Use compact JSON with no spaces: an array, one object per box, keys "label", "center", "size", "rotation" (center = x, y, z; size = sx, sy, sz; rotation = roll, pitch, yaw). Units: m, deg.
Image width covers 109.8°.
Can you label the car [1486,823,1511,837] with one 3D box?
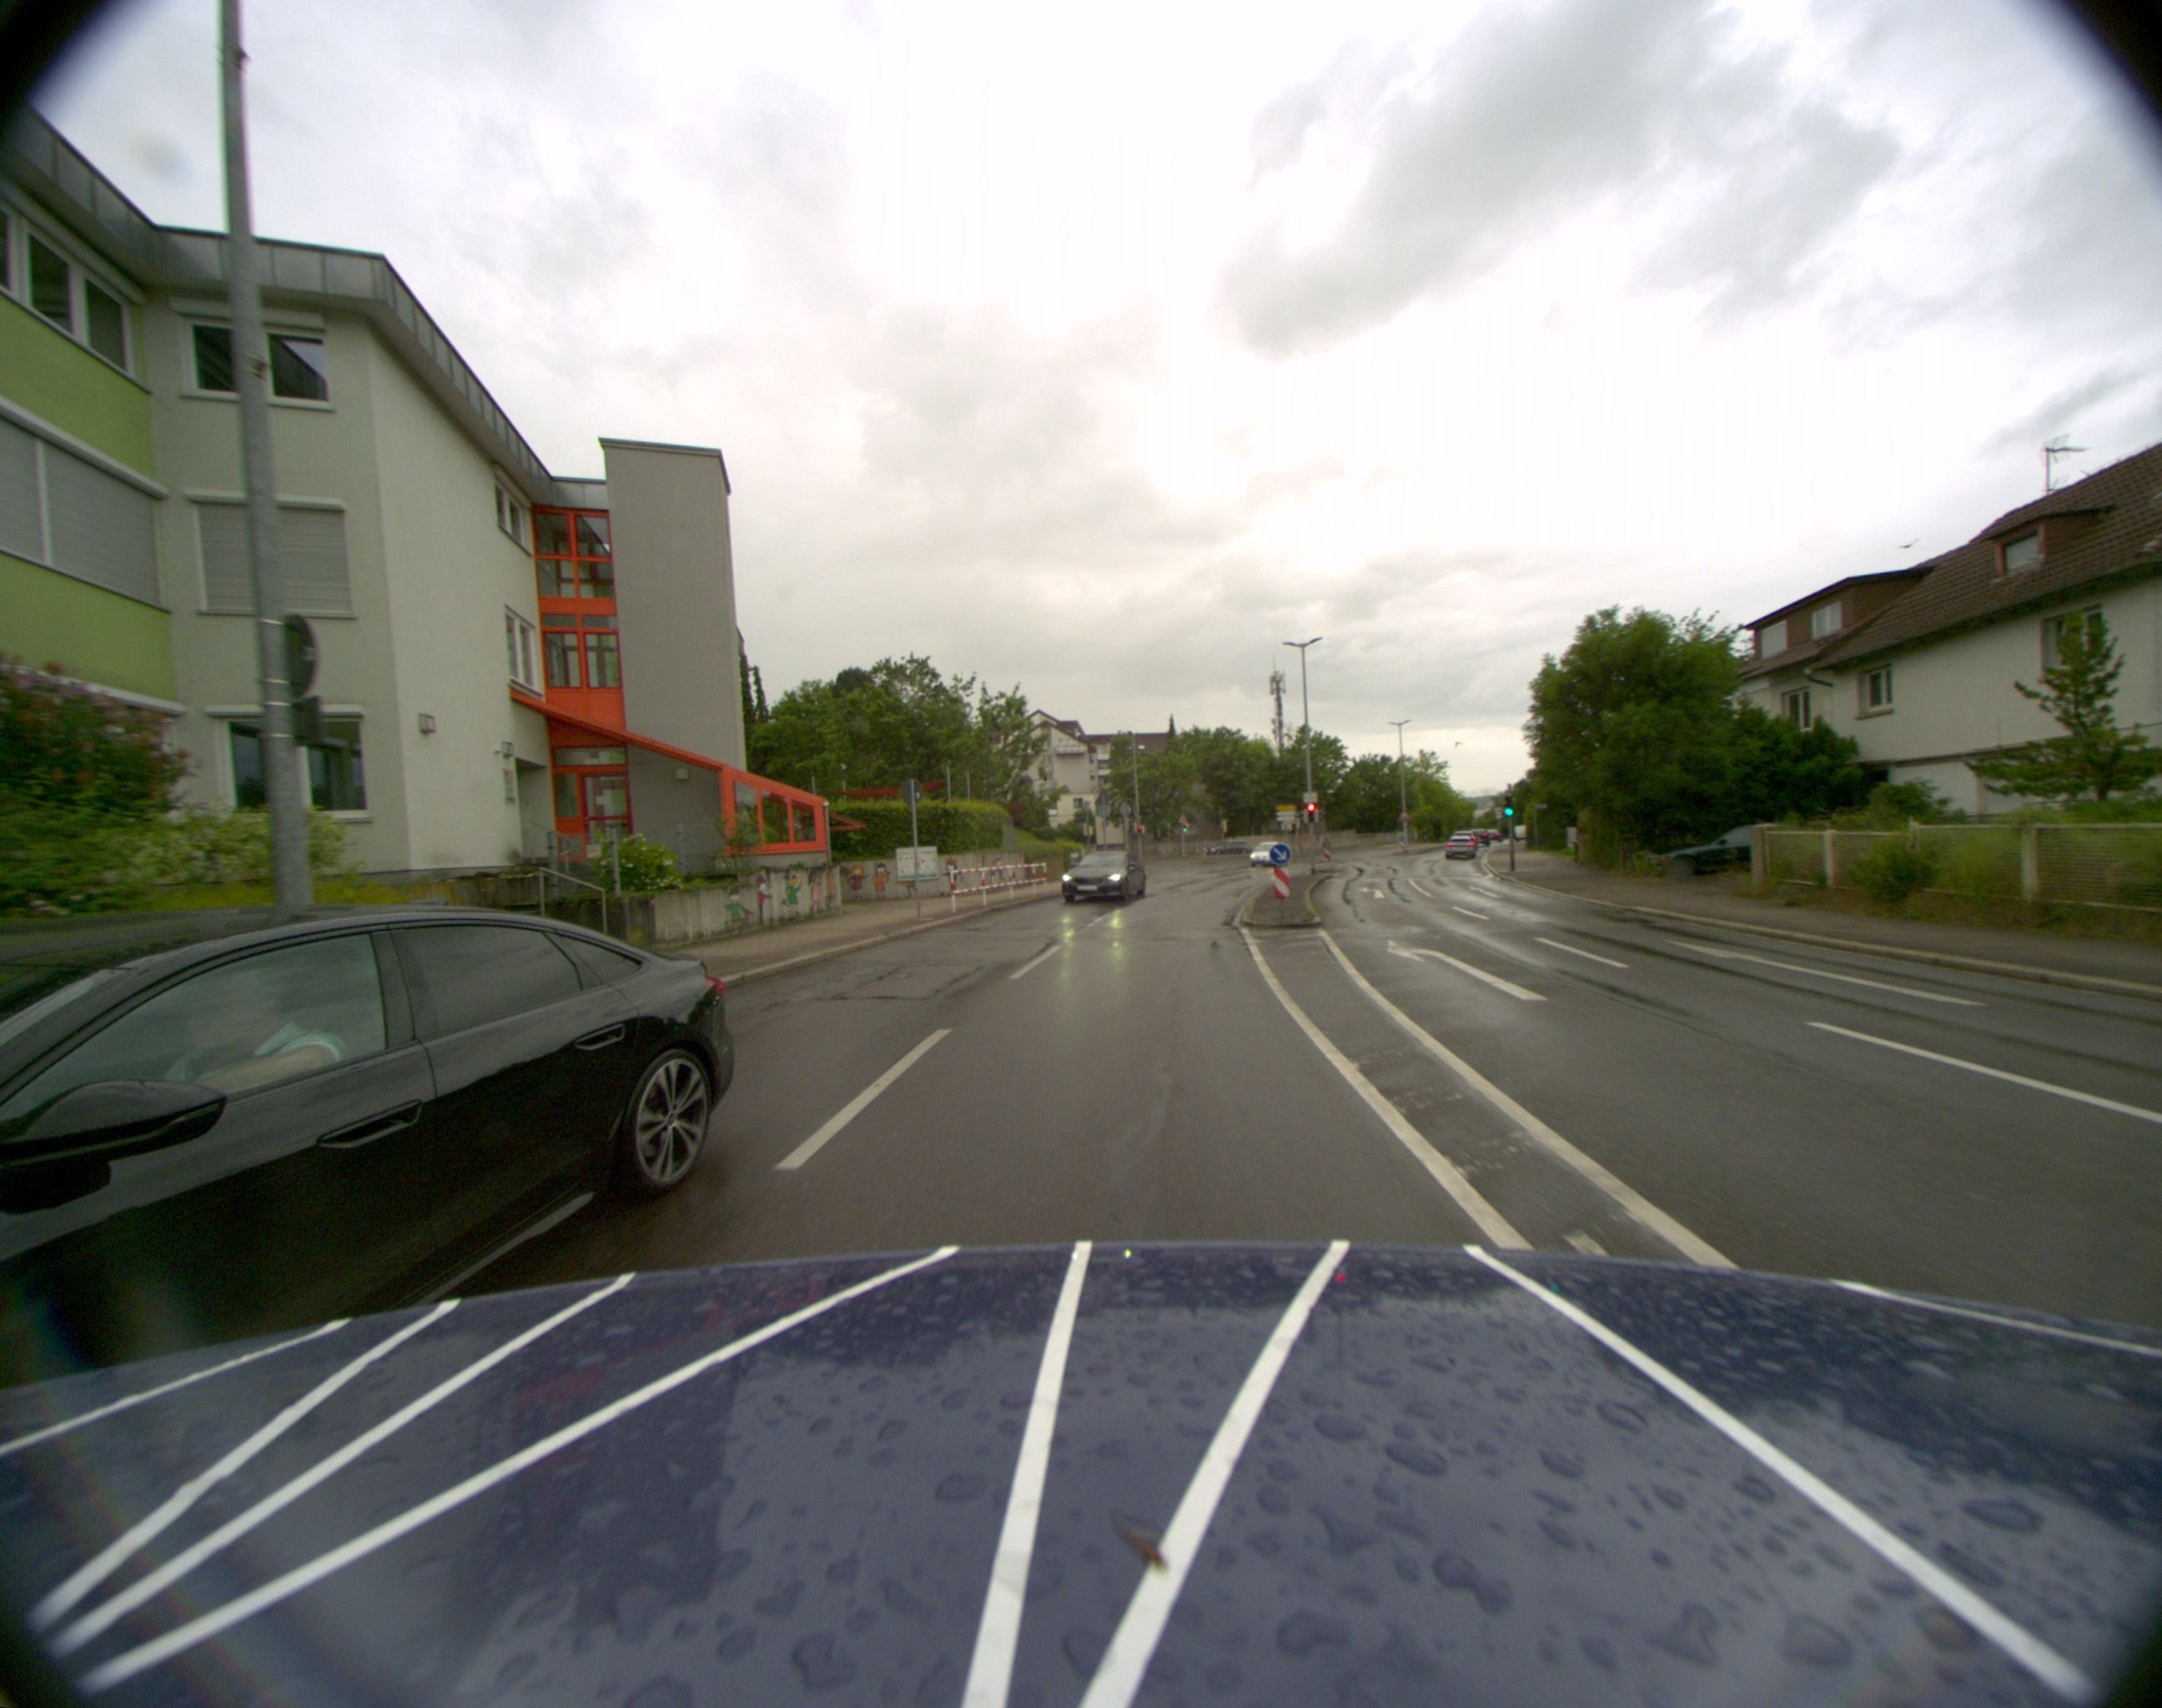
[{"label":"car","center":[47.593,-2.720,86.492],"size":[1.865,1.468,4.454],"rotation":[1,3,37]}]

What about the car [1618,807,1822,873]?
[{"label":"car","center":[18.367,-0.385,22.079],"size":[3.993,1.386,1.934],"rotation":[-7,0,16]}]

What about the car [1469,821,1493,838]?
[{"label":"car","center":[38.396,-2.382,72.887],"size":[1.865,1.545,4.453],"rotation":[0,3,31]}]

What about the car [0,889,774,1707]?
[{"label":"car","center":[-2.896,1.052,2.037],"size":[1.870,1.416,4.738],"rotation":[-3,2,4]}]

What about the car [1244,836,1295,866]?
[{"label":"car","center":[12.389,-0.204,49.713],"size":[1.995,1.647,4.006],"rotation":[-2,3,33]}]

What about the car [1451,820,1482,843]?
[{"label":"car","center":[31.631,-1.852,62.285],"size":[1.884,1.668,4.238],"rotation":[-2,3,31]}]

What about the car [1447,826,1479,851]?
[{"label":"car","center":[25.988,-1.074,51.598],"size":[1.677,1.442,4.695],"rotation":[-2,3,29]}]

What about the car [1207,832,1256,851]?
[{"label":"car","center":[14.814,-1.271,74.737],"size":[4.226,1.647,1.998],"rotation":[-4,2,-9]}]

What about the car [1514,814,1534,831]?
[{"label":"car","center":[50.069,-3.616,85.857],"size":[1.817,1.708,4.006],"rotation":[-2,3,33]}]

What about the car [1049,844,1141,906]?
[{"label":"car","center":[0.538,0.557,22.970],"size":[1.870,1.511,4.002],"rotation":[-3,2,14]}]
